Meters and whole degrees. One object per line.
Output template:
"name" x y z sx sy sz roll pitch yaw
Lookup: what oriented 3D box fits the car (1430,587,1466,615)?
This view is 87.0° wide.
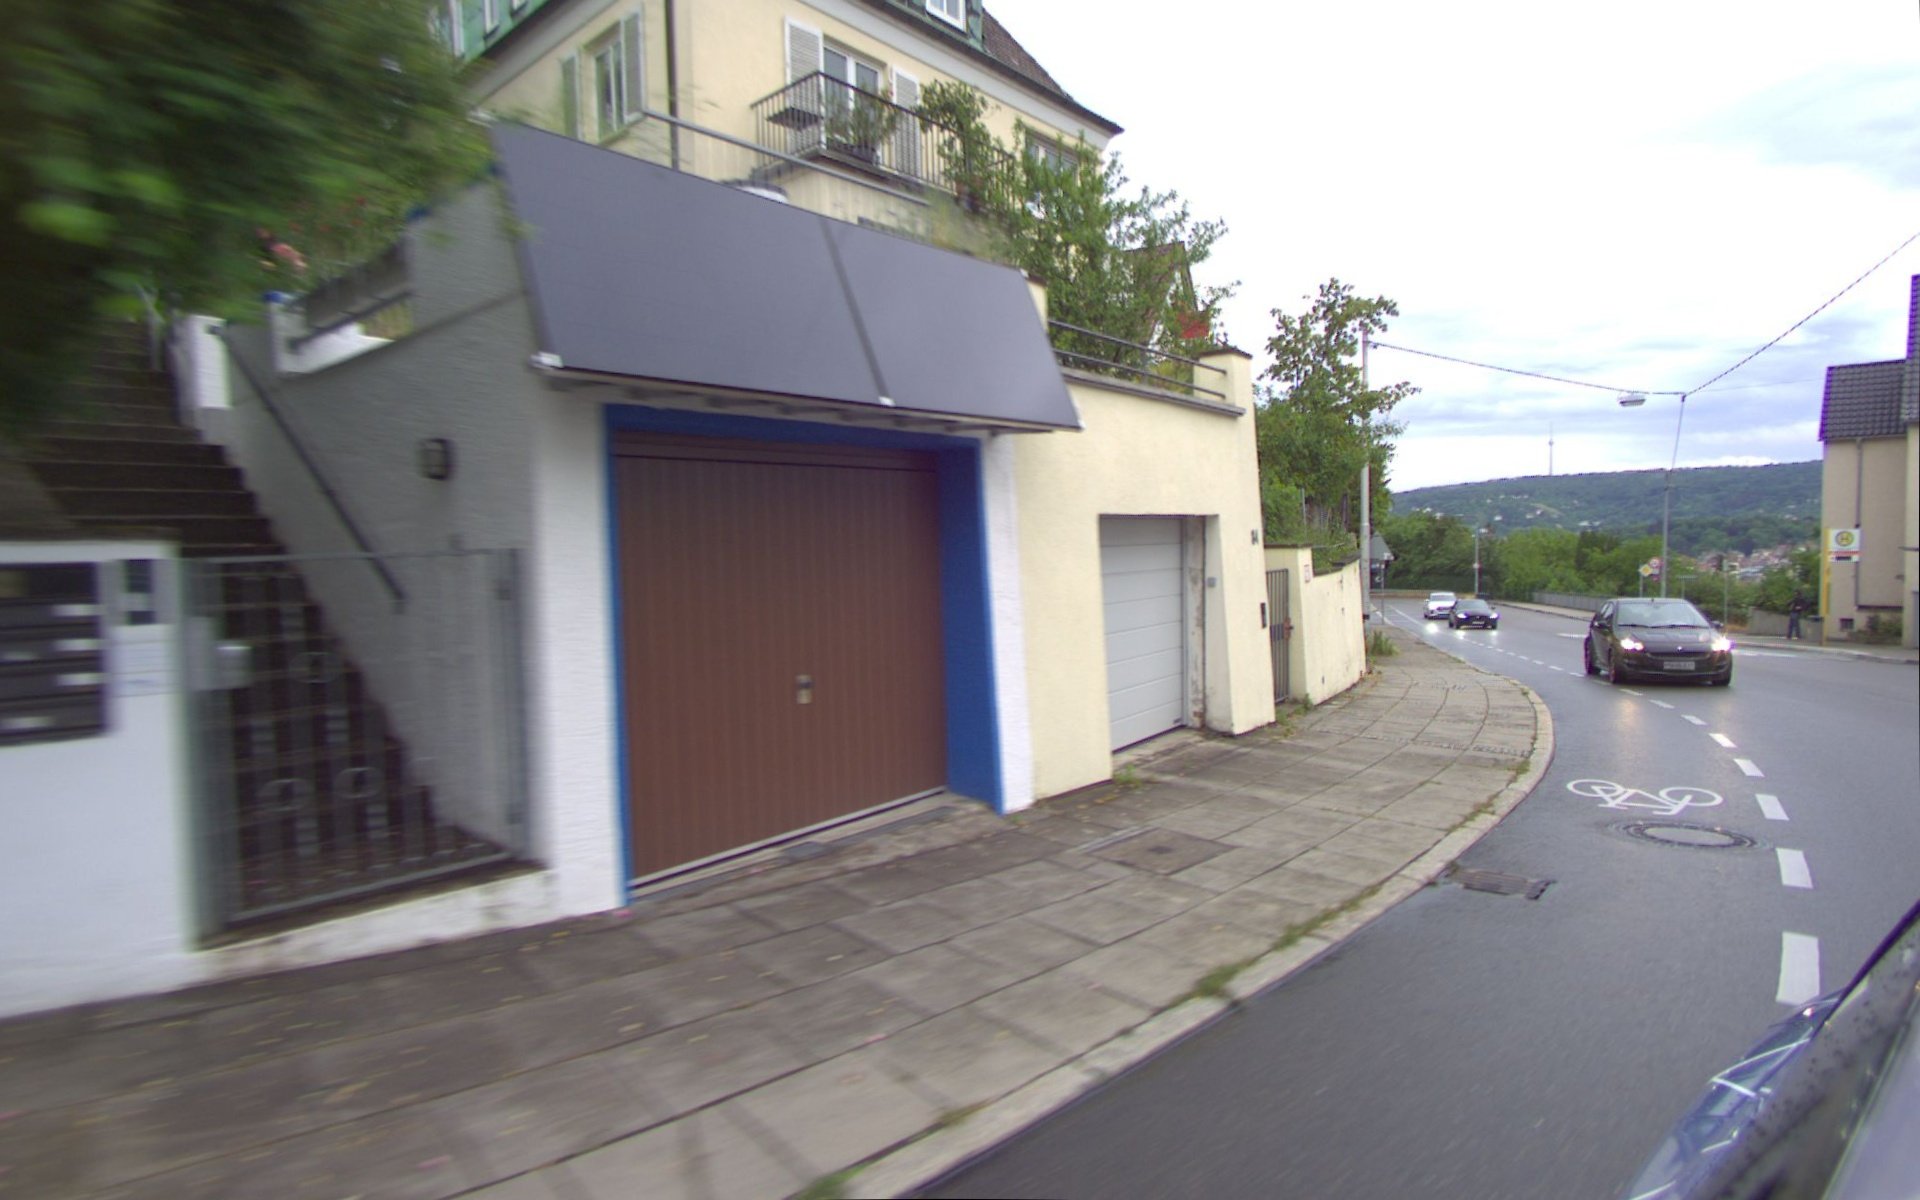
"car" 30.526 0.037 63.406 1.870 1.595 4.556 -1 1 24

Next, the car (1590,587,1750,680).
"car" 12.396 0.521 17.891 1.664 1.431 3.606 -1 0 25

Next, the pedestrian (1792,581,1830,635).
"pedestrian" 30.166 0.262 35.882 0.779 1.880 0.723 -2 0 22

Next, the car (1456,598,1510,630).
"car" 25.695 0.668 49.865 1.745 1.472 4.372 0 1 19
